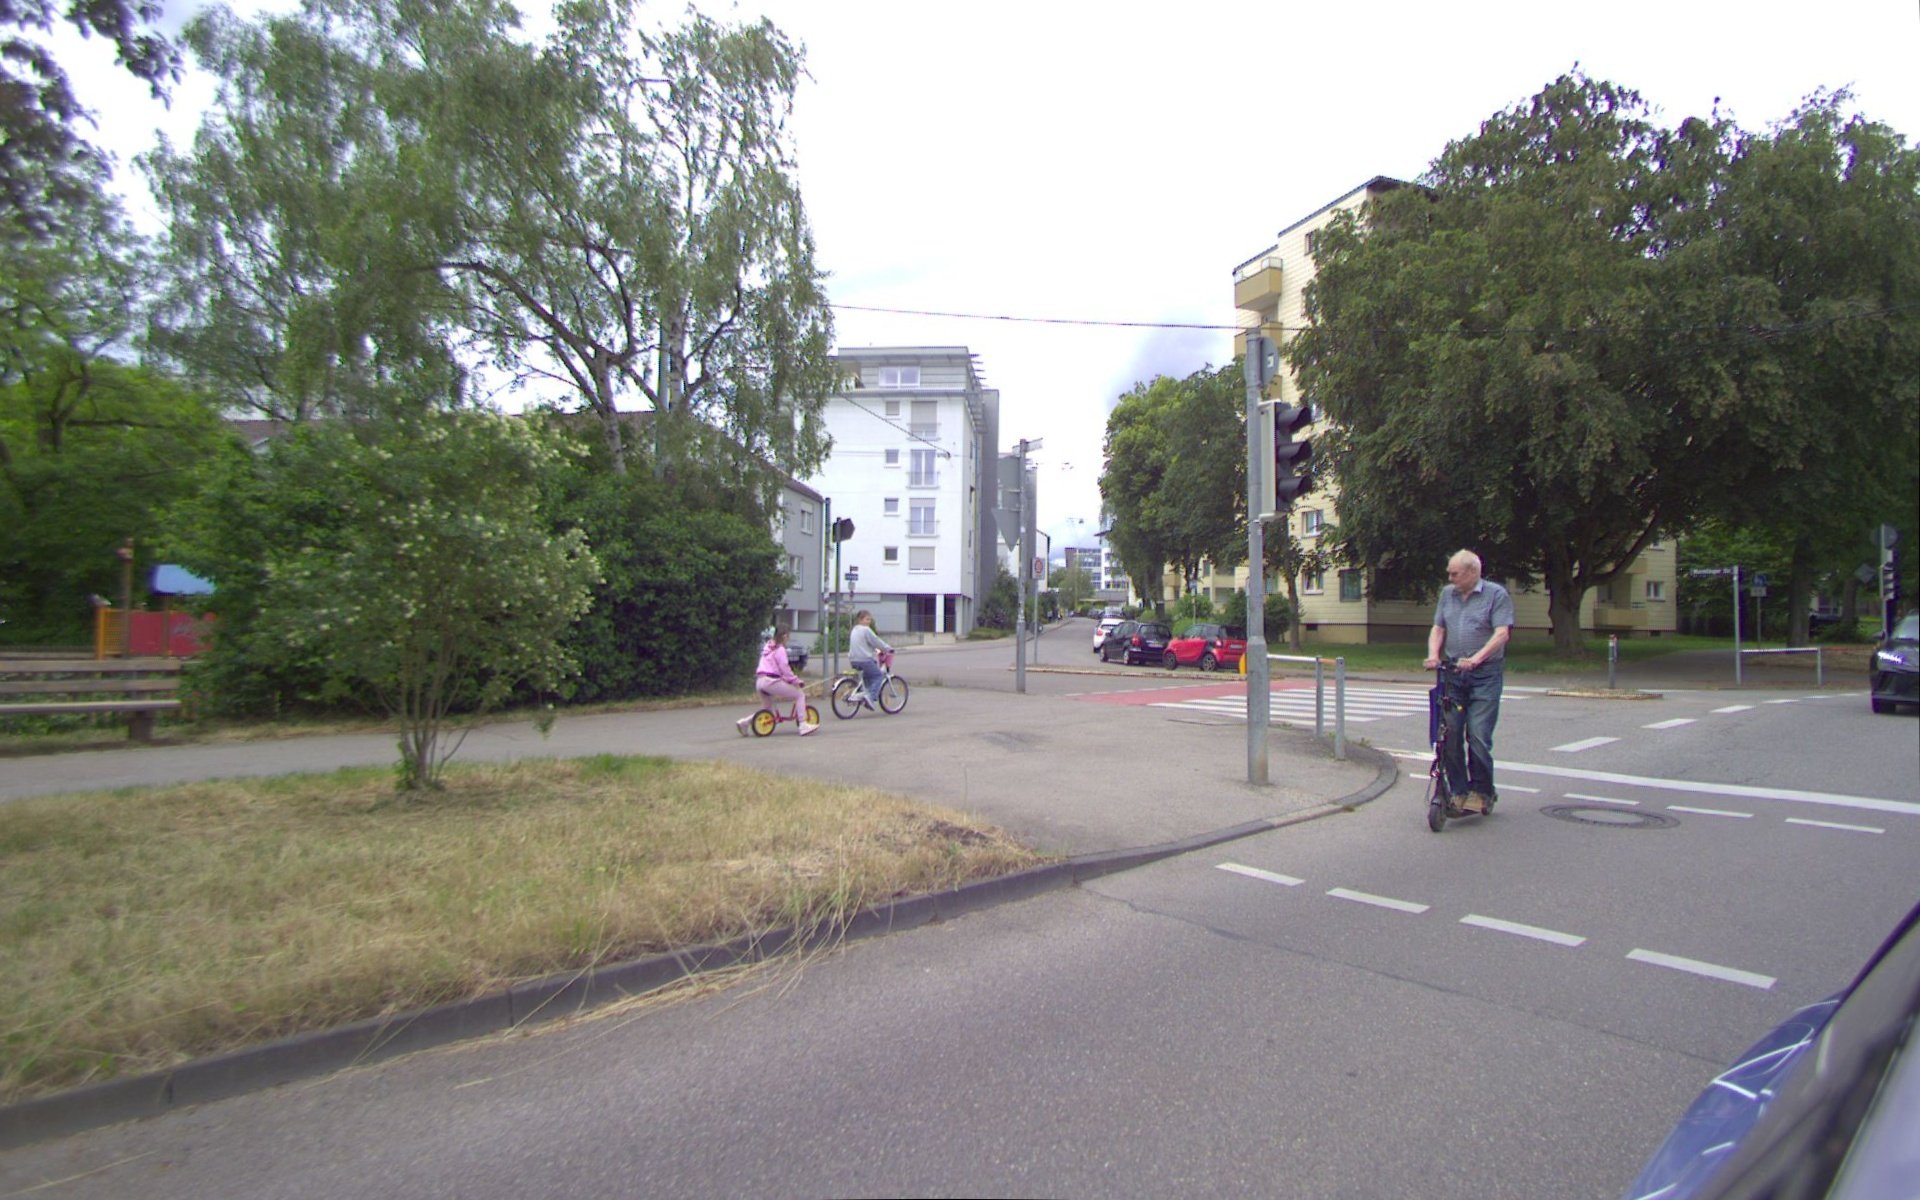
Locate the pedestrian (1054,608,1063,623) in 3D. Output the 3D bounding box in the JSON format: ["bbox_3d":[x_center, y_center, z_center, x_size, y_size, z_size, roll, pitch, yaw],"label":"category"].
[{"bbox_3d":[9.906,1.541,101.875,0.694,1.510,0.712,-1,-2,-6],"label":"pedestrian"}]

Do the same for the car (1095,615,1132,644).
[{"bbox_3d":[7.901,1.483,51.901,1.766,1.372,4.059,1,0,10],"label":"car"}]

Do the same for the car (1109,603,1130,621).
[{"bbox_3d":[14.377,1.057,91.243,1.766,1.600,4.059,1,0,10],"label":"car"}]

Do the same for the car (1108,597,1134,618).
[{"bbox_3d":[11.484,0.547,72.115,1.766,1.430,4.059,1,0,10],"label":"car"}]

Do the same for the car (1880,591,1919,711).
[{"bbox_3d":[14.500,0.729,14.311,4.224,1.570,1.801,2,-2,-42],"label":"car"}]

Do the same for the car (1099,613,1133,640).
[{"bbox_3d":[8.856,1.461,57.184,1.766,1.430,4.059,1,0,10],"label":"car"}]

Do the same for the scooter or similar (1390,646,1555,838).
[{"bbox_3d":[3.548,0.899,6.956,0.680,1.154,1.438,-1,-3,41],"label":"scooter or similar"}]

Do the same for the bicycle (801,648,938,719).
[{"bbox_3d":[-1.120,1.016,12.716,1.651,0.768,0.640,0,-1,-41],"label":"bicycle"}]

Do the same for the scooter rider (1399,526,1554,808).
[{"bbox_3d":[3.580,0.436,6.983,0.680,1.753,1.178,-1,-3,41],"label":"scooter rider"}]

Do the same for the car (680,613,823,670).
[{"bbox_3d":[-6.004,1.131,28.728,2.002,1.457,4.794,1,-2,-39],"label":"car"}]

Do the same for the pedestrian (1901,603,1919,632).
[{"bbox_3d":[45.567,0.822,48.378,0.594,1.399,0.689,0,-1,-34],"label":"pedestrian"}]

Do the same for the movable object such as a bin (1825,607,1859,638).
[{"bbox_3d":[49.761,1.259,57.083,1.001,1.662,1.278,0,1,-37],"label":"movable object such as a bin"}]

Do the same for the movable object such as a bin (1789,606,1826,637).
[{"bbox_3d":[48.858,1.228,58.335,1.001,1.662,1.435,0,1,-37],"label":"movable object such as a bin"}]

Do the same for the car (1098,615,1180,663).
[{"bbox_3d":[6.392,1.396,36.573,1.781,1.612,3.830,0,-2,-8],"label":"car"}]

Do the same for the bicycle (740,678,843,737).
[{"bbox_3d":[-1.815,1.152,10.962,0.971,0.504,0.519,-2,1,-41],"label":"bicycle"}]

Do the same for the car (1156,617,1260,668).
[{"bbox_3d":[7.796,1.328,31.956,1.661,1.526,2.923,2,-3,-29],"label":"car"}]

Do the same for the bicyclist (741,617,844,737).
[{"bbox_3d":[-1.813,0.806,10.962,0.951,1.202,0.519,-1,0,-41],"label":"bicyclist"}]

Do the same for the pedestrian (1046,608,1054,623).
[{"bbox_3d":[9.015,1.558,101.502,0.694,1.510,0.712,-1,-2,-6],"label":"pedestrian"}]

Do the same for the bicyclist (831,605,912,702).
[{"bbox_3d":[-1.113,0.648,12.751,0.789,1.177,0.640,0,-1,-40],"label":"bicyclist"}]

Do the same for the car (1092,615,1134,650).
[{"bbox_3d":[6.961,1.423,45.772,1.766,1.452,4.059,1,0,10],"label":"car"}]
